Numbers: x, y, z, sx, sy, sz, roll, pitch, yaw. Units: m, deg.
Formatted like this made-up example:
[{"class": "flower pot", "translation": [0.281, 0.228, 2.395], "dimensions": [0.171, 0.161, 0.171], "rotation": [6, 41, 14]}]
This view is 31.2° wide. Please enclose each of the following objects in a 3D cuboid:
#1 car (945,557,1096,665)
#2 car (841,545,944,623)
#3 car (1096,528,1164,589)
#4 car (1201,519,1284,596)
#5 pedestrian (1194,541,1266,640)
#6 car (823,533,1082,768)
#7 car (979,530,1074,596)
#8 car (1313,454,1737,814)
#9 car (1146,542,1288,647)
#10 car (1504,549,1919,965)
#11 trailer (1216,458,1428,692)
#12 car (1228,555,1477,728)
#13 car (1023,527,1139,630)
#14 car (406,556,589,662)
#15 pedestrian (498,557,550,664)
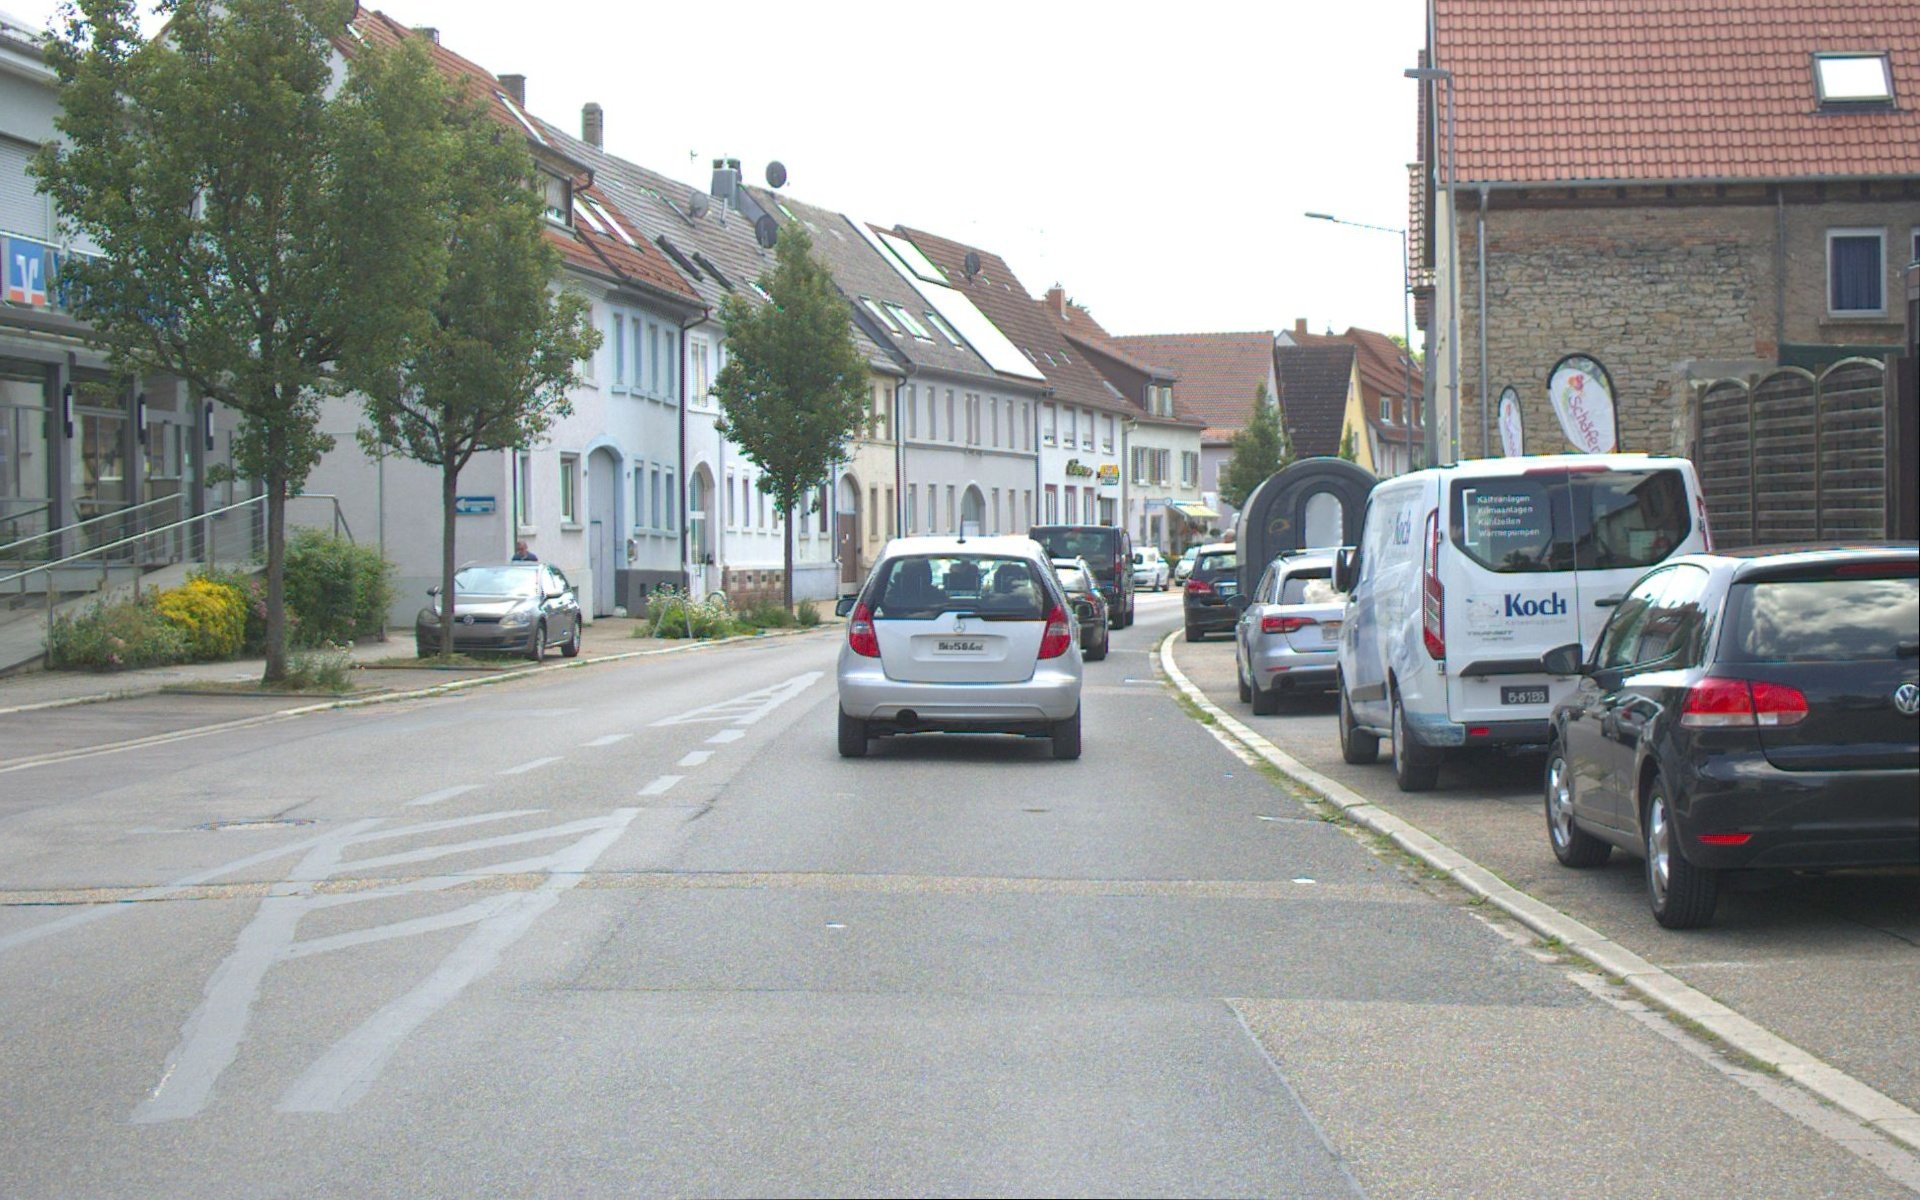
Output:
[{"class": "car", "translation": [0.887, 0.130, 48.075], "dimensions": [1.945, 1.402, 4.000], "rotation": [1, 0, 3]}, {"class": "car", "translation": [-1.397, -0.362, 72.578], "dimensions": [1.743, 1.521, 4.019], "rotation": [-3, 1, 4]}, {"class": "car", "translation": [5.884, -1.417, 118.803], "dimensions": [1.994, 2.007, 3.999], "rotation": [-2, 0, 7]}, {"class": "car", "translation": [8.595, -1.273, 104.399], "dimensions": [2.236, 2.215, 3.999], "rotation": [-2, 0, 8]}, {"class": "pedestrian", "translation": [5.118, -0.189, 65.045], "dimensions": [1.096, 1.815, 1.468], "rotation": [-1, 1, 14]}, {"class": "car", "translation": [-0.075, 0.338, 25.937], "dimensions": [1.769, 1.589, 4.000], "rotation": [1, 0, -1]}, {"class": "car", "translation": [1.981, -1.098, 100.916], "dimensions": [2.092, 1.877, 3.998], "rotation": [-1, 1, 11]}, {"class": "car", "translation": [3.523, 0.160, 22.356], "dimensions": [1.892, 1.975, 4.931], "rotation": [-3, 1, 1]}, {"class": "car", "translation": [4.248, -0.117, 56.242], "dimensions": [1.994, 1.554, 3.999], "rotation": [-2, 1, 8]}, {"class": "car", "translation": [3.536, 0.548, 14.726], "dimensions": [1.774, 1.490, 4.162], "rotation": [-1, 1, 1]}, {"class": "trailer", "translation": [3.852, -0.285, 37.116], "dimensions": [1.845, 2.346, 3.589], "rotation": [-2, 1, 0]}, {"class": "car", "translation": [3.606, 0.330, 32.331], "dimensions": [1.875, 1.476, 4.674], "rotation": [0, 1, 1]}, {"class": "car", "translation": [2.370, -0.407, 66.379], "dimensions": [1.769, 1.881, 4.445], "rotation": [1, 0, 8]}, {"class": "car", "translation": [-6.714, 0.098, 50.276], "dimensions": [1.804, 1.455, 4.157], "rotation": [0, 1, 5]}, {"class": "pedestrian", "translation": [-7.416, 0.176, 58.487], "dimensions": [0.739, 1.795, 0.642], "rotation": [-2, 0, 2]}]
